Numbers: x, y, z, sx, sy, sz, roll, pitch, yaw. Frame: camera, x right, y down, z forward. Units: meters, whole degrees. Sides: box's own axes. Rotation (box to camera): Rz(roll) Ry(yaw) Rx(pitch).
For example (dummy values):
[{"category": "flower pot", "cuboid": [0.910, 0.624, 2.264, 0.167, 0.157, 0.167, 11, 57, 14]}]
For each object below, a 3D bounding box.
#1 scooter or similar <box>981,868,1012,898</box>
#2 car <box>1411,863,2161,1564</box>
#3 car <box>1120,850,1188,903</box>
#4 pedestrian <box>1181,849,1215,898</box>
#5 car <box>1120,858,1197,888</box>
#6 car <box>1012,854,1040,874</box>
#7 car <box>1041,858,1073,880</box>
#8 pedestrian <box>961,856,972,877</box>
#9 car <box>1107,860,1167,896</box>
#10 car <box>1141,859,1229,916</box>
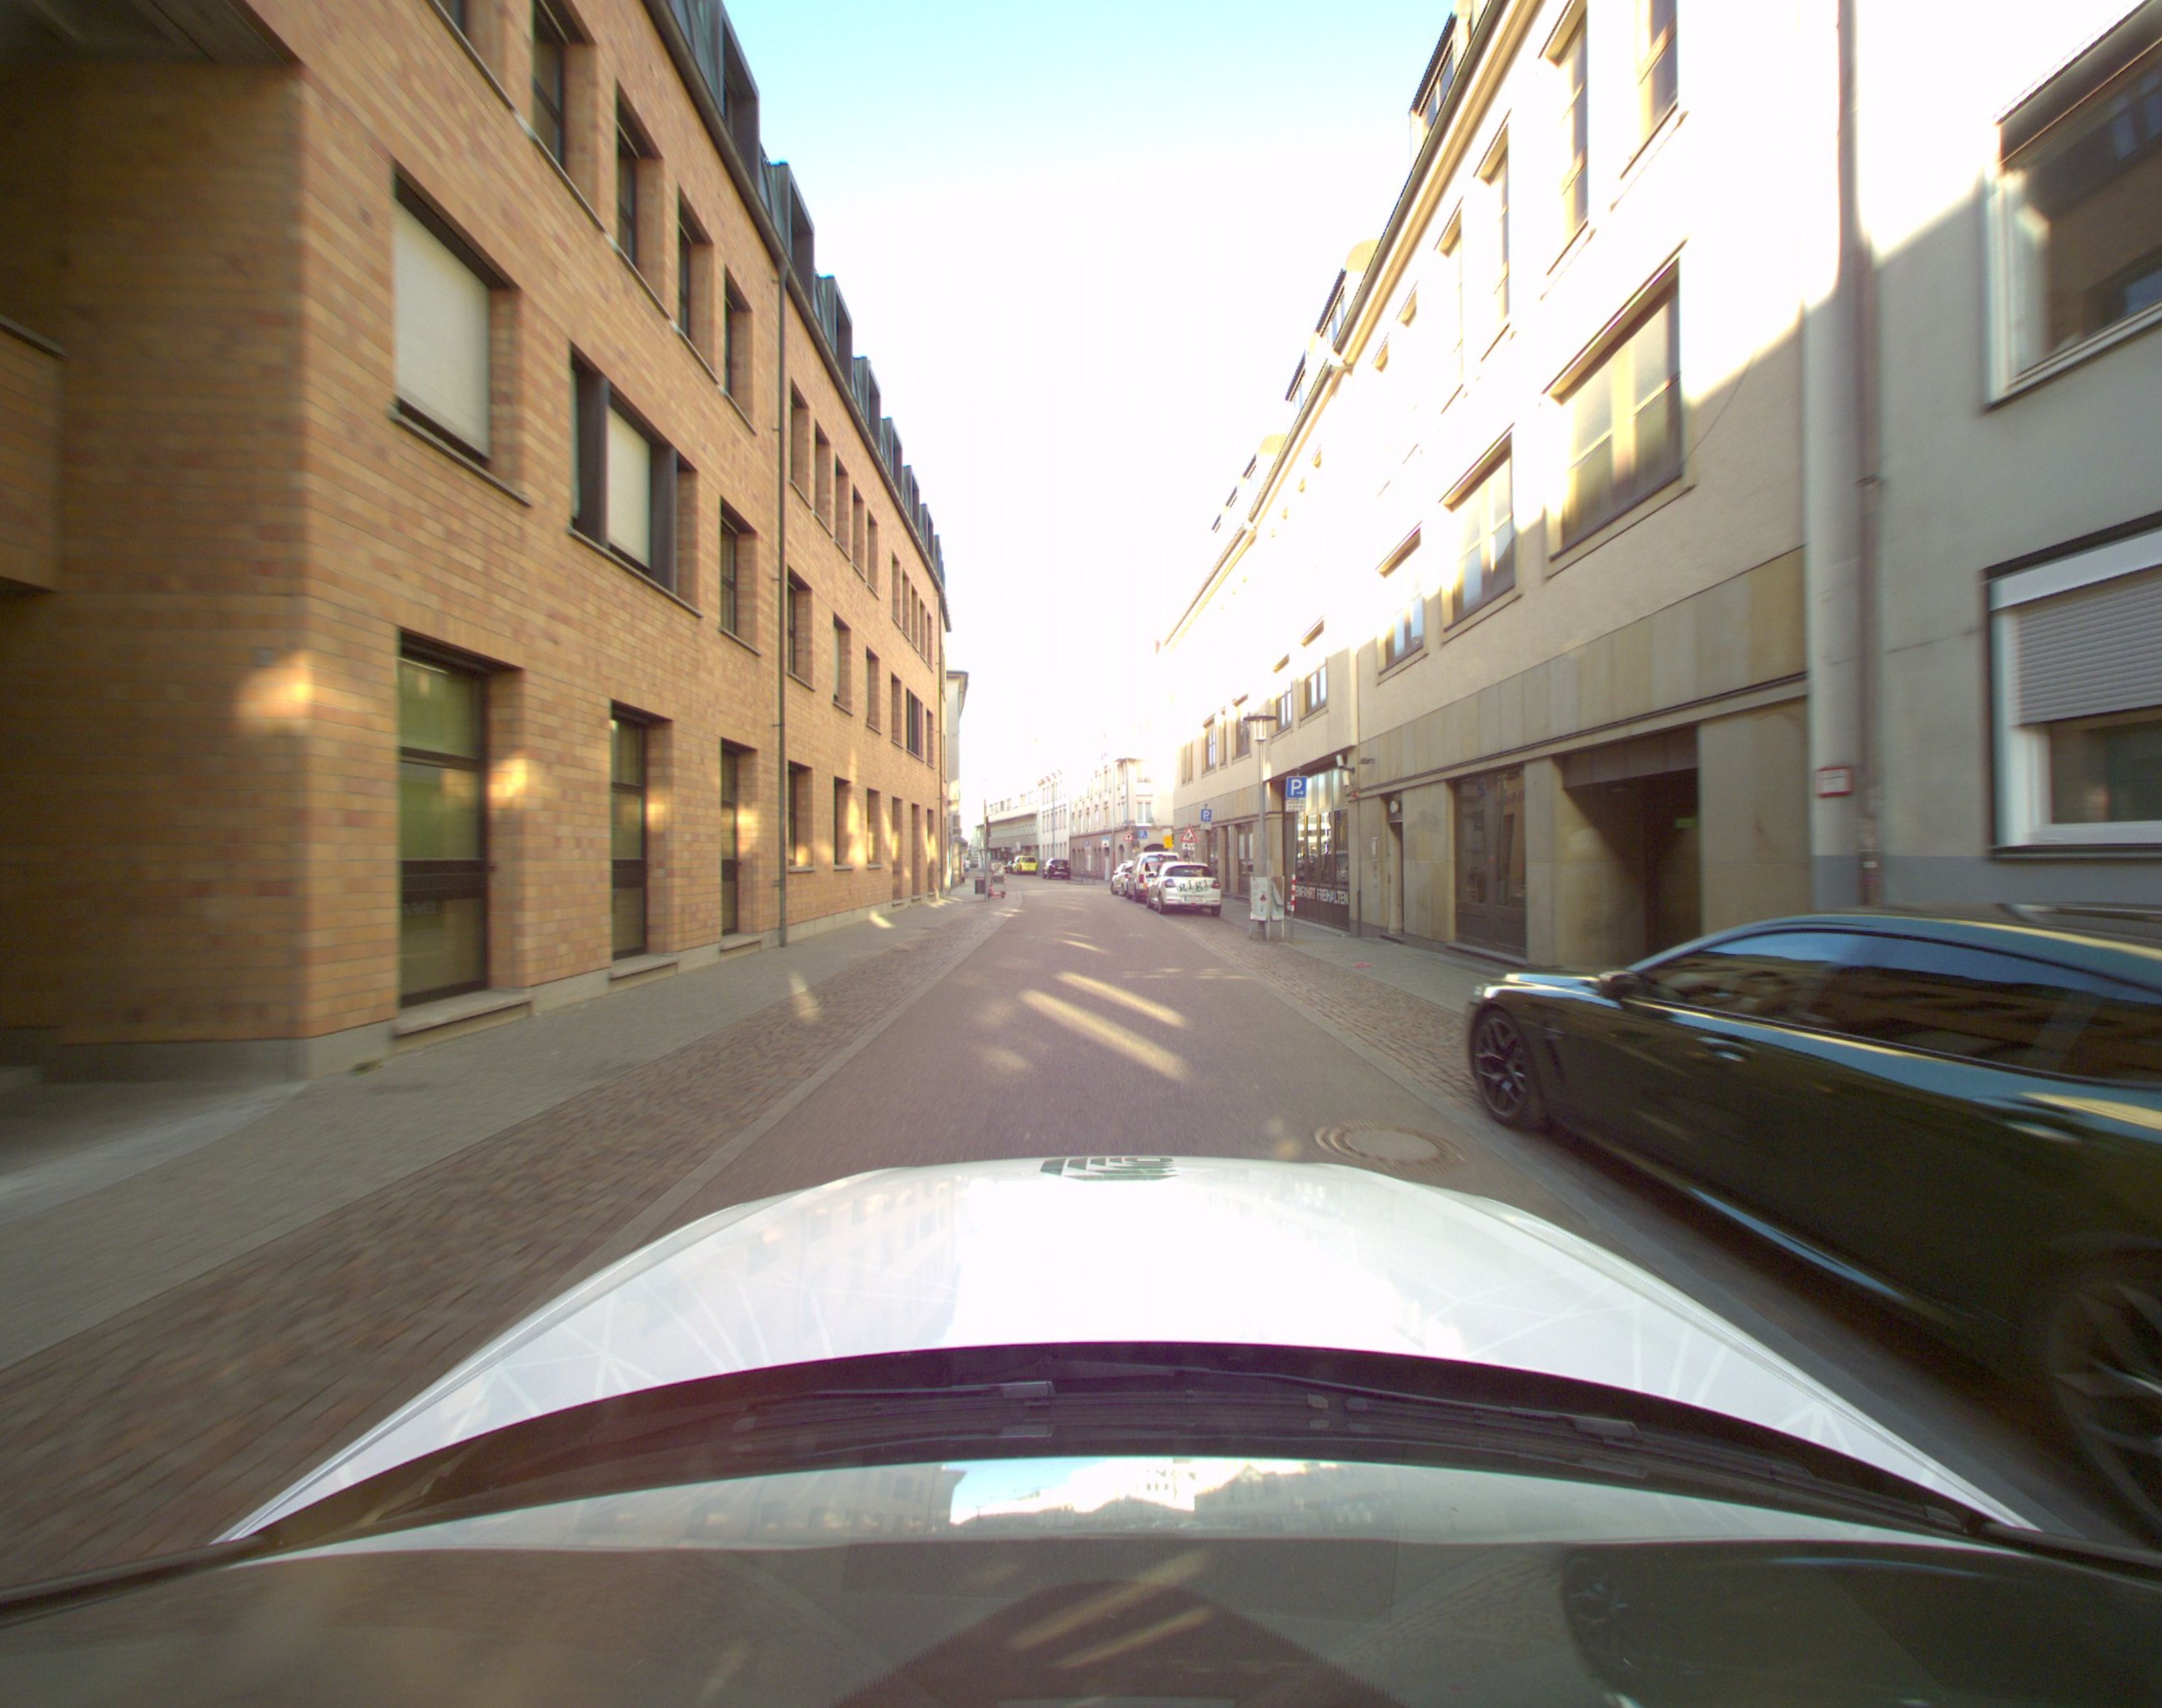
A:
[{"category": "scooter or similar", "cuboid": [-3.554, 1.229, 34.527, 0.691, 1.217, 1.365, -1, 0, 24]}, {"category": "car", "cuboid": [3.282, 0.803, 3.265, 1.887, 1.453, 5.226, 1, 0, 1]}, {"category": "car", "cuboid": [2.649, 0.806, 30.660, 1.826, 1.791, 5.208, 1, -1, -3]}, {"category": "pedestrian", "cuboid": [4.344, 0.729, 30.386, 1.040, 1.801, 1.197, 0, -1, -3]}, {"category": "car", "cuboid": [4.229, 1.028, 44.777, 3.981, 1.562, 1.839, -1, 0, -6]}, {"category": "car", "cuboid": [-5.626, 0.978, 82.522, 2.056, 2.013, 4.153, 0, 0, -15]}, {"category": "car", "cuboid": [-1.971, 1.166, 66.354, 1.968, 1.692, 4.086, 1, 0, -11]}, {"category": "pedestrian", "cuboid": [-9.520, 1.055, 67.705, 0.767, 1.724, 0.683, 0, -1, -17]}, {"category": "car", "cuboid": [2.450, 1.021, 36.600, 1.887, 1.518, 4.052, 0, 0, -8]}, {"category": "car", "cuboid": [2.998, 0.941, 24.369, 1.836, 1.478, 4.163, 2, 0, -3]}]
